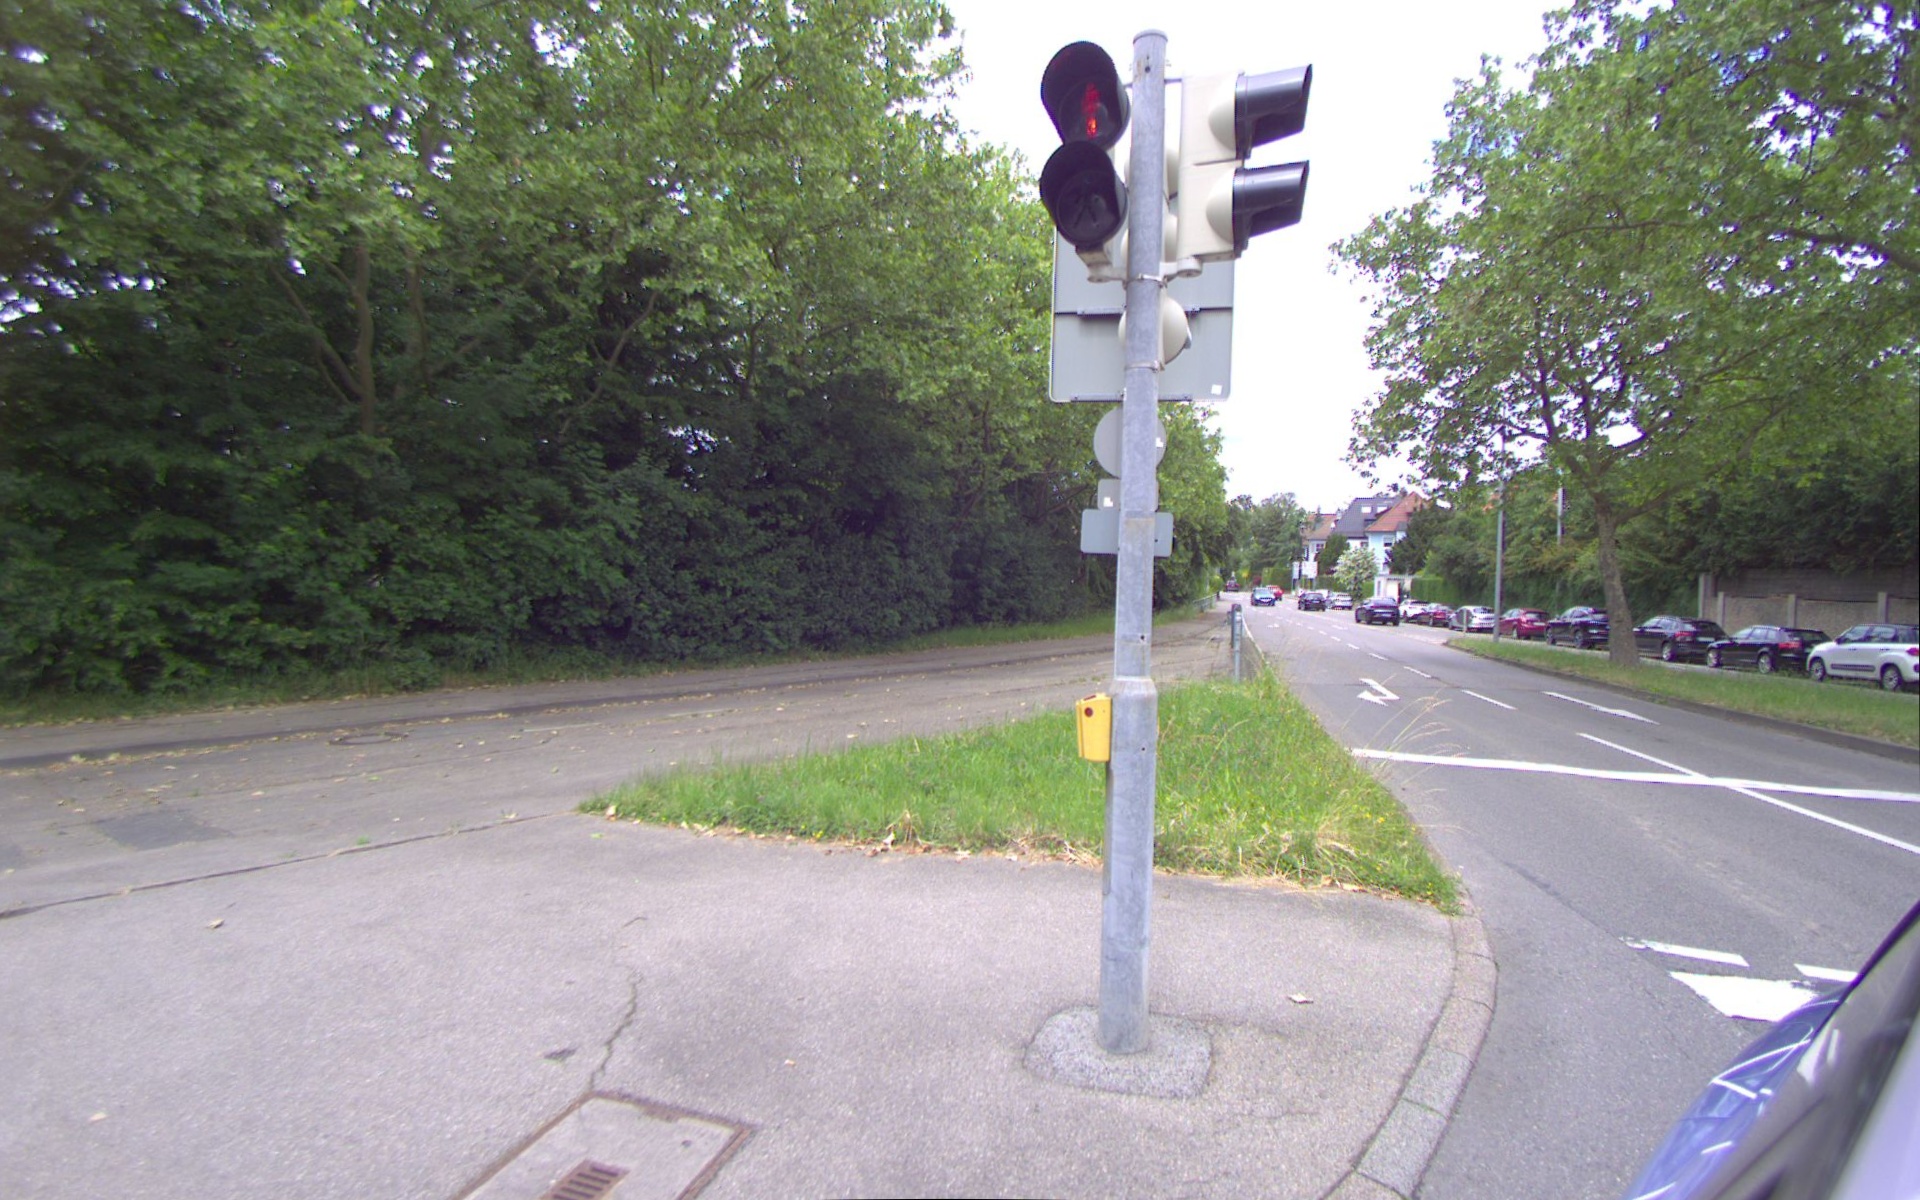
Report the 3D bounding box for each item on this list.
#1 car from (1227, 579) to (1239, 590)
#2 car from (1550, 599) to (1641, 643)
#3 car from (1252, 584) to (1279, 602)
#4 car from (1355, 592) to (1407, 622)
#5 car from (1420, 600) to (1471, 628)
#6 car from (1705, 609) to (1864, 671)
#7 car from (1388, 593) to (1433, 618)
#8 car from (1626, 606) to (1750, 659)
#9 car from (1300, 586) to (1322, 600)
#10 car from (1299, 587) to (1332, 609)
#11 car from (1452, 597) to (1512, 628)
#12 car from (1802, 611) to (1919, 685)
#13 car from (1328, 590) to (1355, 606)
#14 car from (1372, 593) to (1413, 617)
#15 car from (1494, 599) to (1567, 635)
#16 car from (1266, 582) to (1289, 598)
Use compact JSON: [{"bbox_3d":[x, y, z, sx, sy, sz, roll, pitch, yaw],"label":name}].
[{"bbox_3d":[39.374,-2.240,145.837,1.649,1.564,3.981,2,1,15],"label":"car"},{"bbox_3d":[25.690,0.804,41.052,1.769,1.623,4.024,2,1,12],"label":"car"},{"bbox_3d":[27.952,-0.662,92.708,1.769,1.446,4.135,4,1,10],"label":"car"},{"bbox_3d":[25.180,0.375,60.701,1.768,1.635,4.576,4,1,9],"label":"car"},{"bbox_3d":[29.187,0.811,60.978,1.660,1.523,3.822,4,1,9],"label":"car"},{"bbox_3d":[24.208,1.120,29.920,1.768,1.523,4.028,4,1,9],"label":"car"},{"bbox_3d":[29.521,0.329,66.367,1.660,1.523,3.822,4,1,9],"label":"car"},{"bbox_3d":[25.087,1.070,35.073,1.768,1.523,4.028,4,1,9],"label":"car"},{"bbox_3d":[36.401,-0.732,105.007,1.662,1.346,3.816,1,1,13],"label":"car"},{"bbox_3d":[29.326,-0.179,83.508,1.815,1.635,3.903,4,1,10],"label":"car"},{"bbox_3d":[28.070,0.644,54.535,1.660,1.523,3.822,4,1,9],"label":"car"},{"bbox_3d":[23.380,1.187,25.166,1.769,1.635,4.206,4,1,10],"label":"car"},{"bbox_3d":[33.362,-0.173,88.523,1.662,1.346,3.816,1,1,13],"label":"car"},{"bbox_3d":[30.587,0.345,71.637,1.660,1.523,3.822,4,1,9],"label":"car"},{"bbox_3d":[27.029,0.761,48.074,1.660,1.523,3.822,4,1,9],"label":"car"},{"bbox_3d":[33.336,-1.089,106.402,1.660,1.523,3.822,4,1,9],"label":"car"}]
